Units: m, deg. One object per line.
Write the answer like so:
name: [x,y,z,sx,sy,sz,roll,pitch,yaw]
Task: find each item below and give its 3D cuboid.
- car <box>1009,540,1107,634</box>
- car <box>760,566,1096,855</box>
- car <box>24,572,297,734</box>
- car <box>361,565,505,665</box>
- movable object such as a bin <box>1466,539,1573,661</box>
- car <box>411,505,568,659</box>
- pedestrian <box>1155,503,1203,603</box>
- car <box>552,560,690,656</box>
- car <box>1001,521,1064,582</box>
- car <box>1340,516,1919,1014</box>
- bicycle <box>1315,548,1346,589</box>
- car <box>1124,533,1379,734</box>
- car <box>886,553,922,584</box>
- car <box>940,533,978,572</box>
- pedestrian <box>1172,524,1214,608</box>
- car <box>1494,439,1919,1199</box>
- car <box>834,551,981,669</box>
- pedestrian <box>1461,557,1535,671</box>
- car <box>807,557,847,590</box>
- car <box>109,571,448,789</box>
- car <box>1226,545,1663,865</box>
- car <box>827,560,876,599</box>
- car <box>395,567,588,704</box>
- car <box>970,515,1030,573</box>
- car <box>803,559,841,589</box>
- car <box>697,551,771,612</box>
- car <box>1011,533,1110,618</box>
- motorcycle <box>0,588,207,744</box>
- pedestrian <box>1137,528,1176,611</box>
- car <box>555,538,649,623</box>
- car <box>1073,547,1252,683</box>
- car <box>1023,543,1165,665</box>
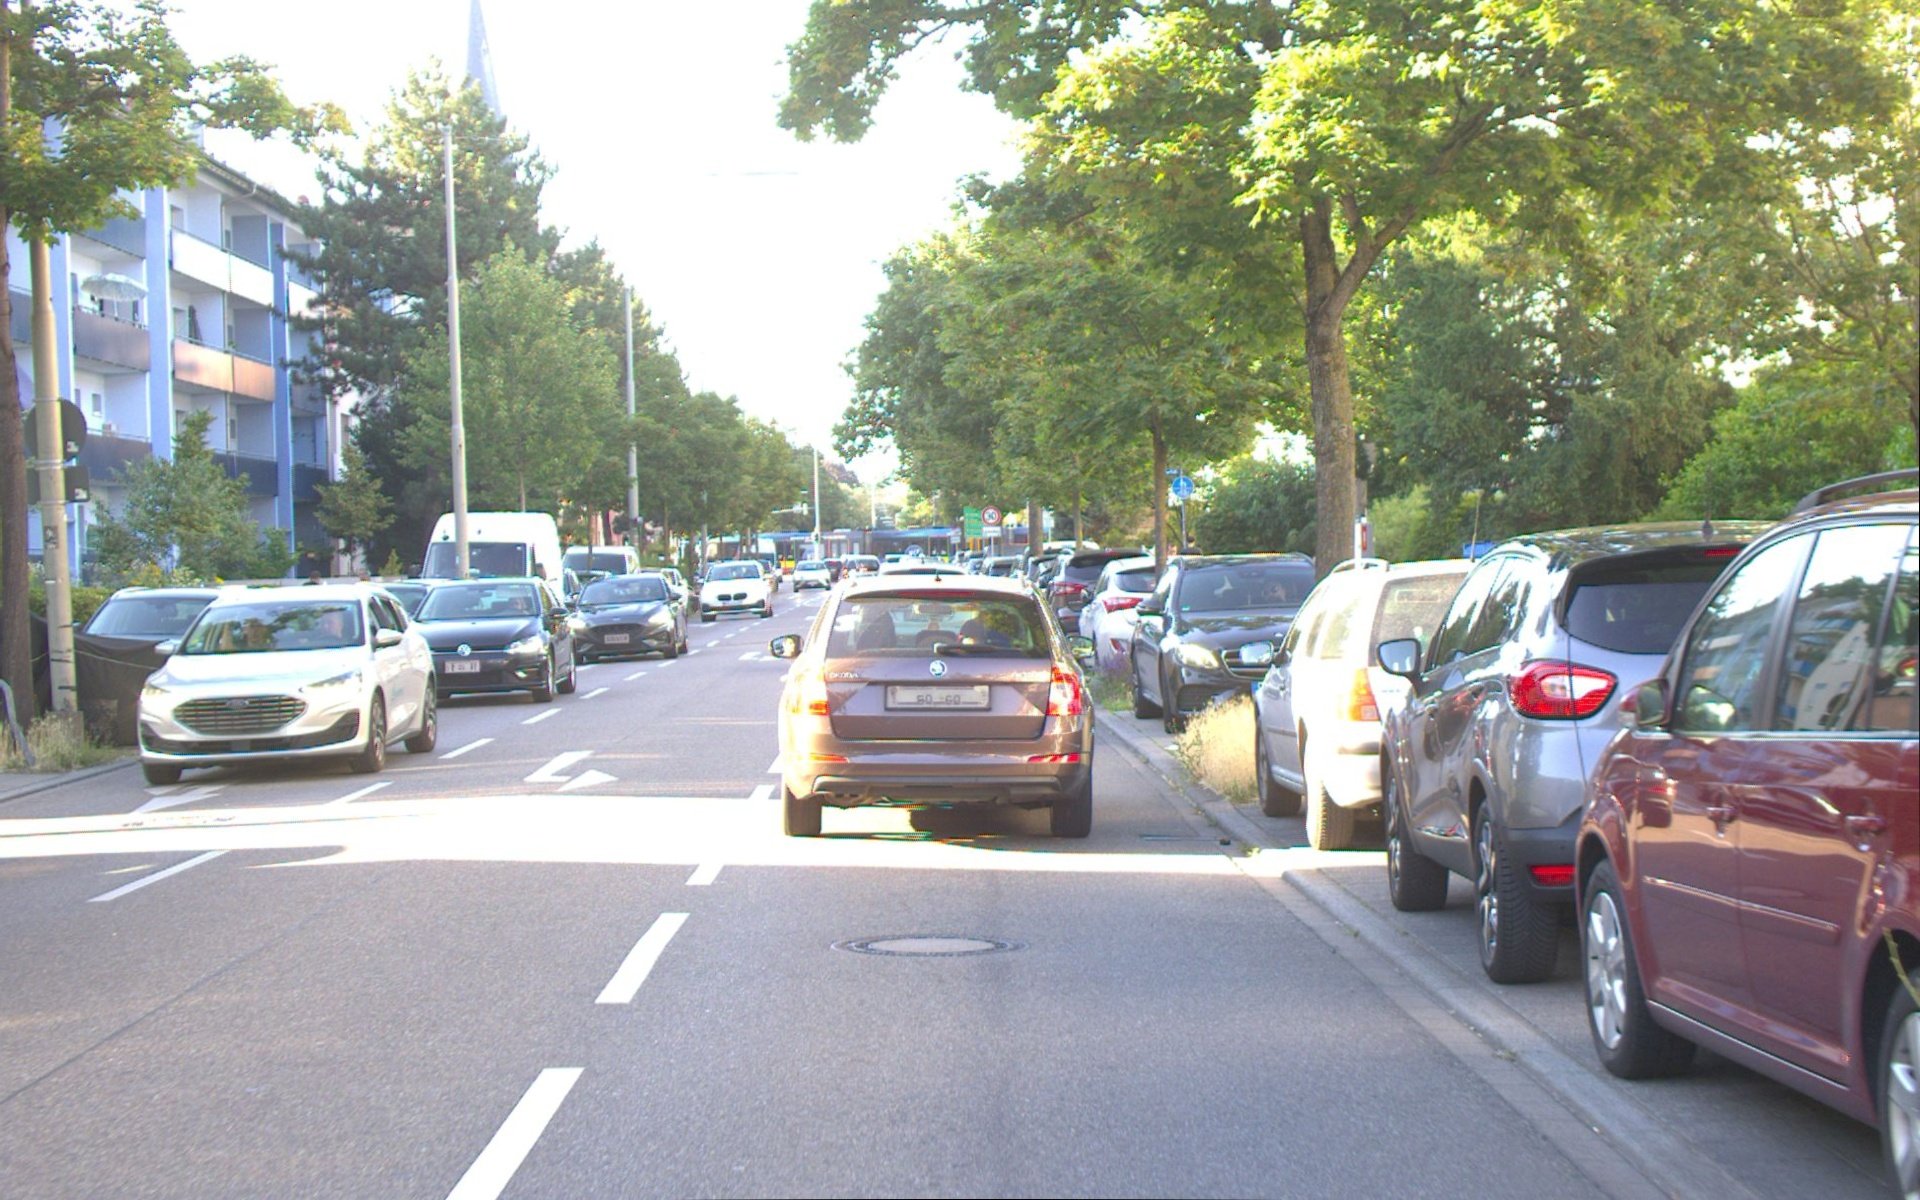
car: [1.855,-0.270,65.826,1.754,1.657,4.252,-2,1,1]
car: [-0.136,0.558,20.012,1.754,1.487,4.000,0,1,1]
car: [-8.114,0.487,35.285,1.778,1.499,4.589,-1,1,-1]
car: [-8.427,0.217,55.231,1.706,1.487,4.059,1,1,-1]
movable object such as a bin: [7.250,-0.012,44.541,1.267,1.487,1.139,-3,1,9]
car: [-8.339,-0.359,61.527,1.993,2.607,7.106,0,1,-1]
pedestrian: [3.747,-0.802,58.705,0.788,1.694,0.807,-1,0,4]
car: [-5.656,0.104,57.799,1.700,1.465,4.294,-2,1,2]
car: [2.043,-1.373,97.776,1.754,1.681,4.252,0,1,1]
car: [2.548,0.506,13.213,1.636,1.563,4.000,-2,1,-1]
bicycle: [8.781,-0.751,81.499,0.475,0.941,1.680,-2,1,-1]
car: [2.525,0.243,30.827,1.874,1.575,4.820,-3,1,1]
car: [-3.041,-1.707,186.015,1.644,1.593,3.651,-1,1,-6]
car: [-0.051,-2.246,162.202,1.754,1.800,4.000,0,1,0]
pedestrian: [5.288,-0.775,78.093,0.799,1.854,0.950,-2,1,10]
car: [2.668,0.474,8.402,1.721,1.650,4.598,-1,1,-4]
car: [-0.740,0.143,47.594,1.892,1.501,3.790,2,0,-1]
pedestrian: [5.887,0.152,37.650,0.673,1.230,0.790,-1,0,0]
car: [-6.540,-1.329,169.760,1.781,1.489,3.971,-3,1,0]
car: [-5.389,0.577,27.736,1.832,1.465,4.452,-4,1,-1]
car: [2.520,0.478,18.880,1.636,1.485,4.416,-2,1,-1]
car: [-4.229,-0.806,133.628,1.780,1.475,3.971,0,1,-4]
car: [-5.381,0.369,39.903,1.700,1.399,4.028,-3,1,-1]
car: [1.349,-1.864,114.326,1.916,1.854,5.633,-1,1,1]
car: [-8.456,-1.591,210.240,1.993,1.744,4.001,-1,1,-6]
car: [-6.067,-0.513,92.306,1.879,1.537,4.268,-1,1,-4]
car: [2.160,-0.553,75.010,1.800,1.802,4.424,0,1,-3]
motorcycle: [-8.022,0.595,31.365,2.021,1.384,0.991,1,-1,-32]
pedestrian: [4.479,-0.707,78.452,0.749,1.854,1.068,-2,1,-1]
car: [-8.775,-0.501,84.681,1.868,2.024,5.301,0,1,-1]
car: [2.361,0.140,41.065,1.718,1.489,4.394,-1,1,-2]
car: [1.848,0.022,48.483,1.718,1.595,4.096,-1,1,-1]
